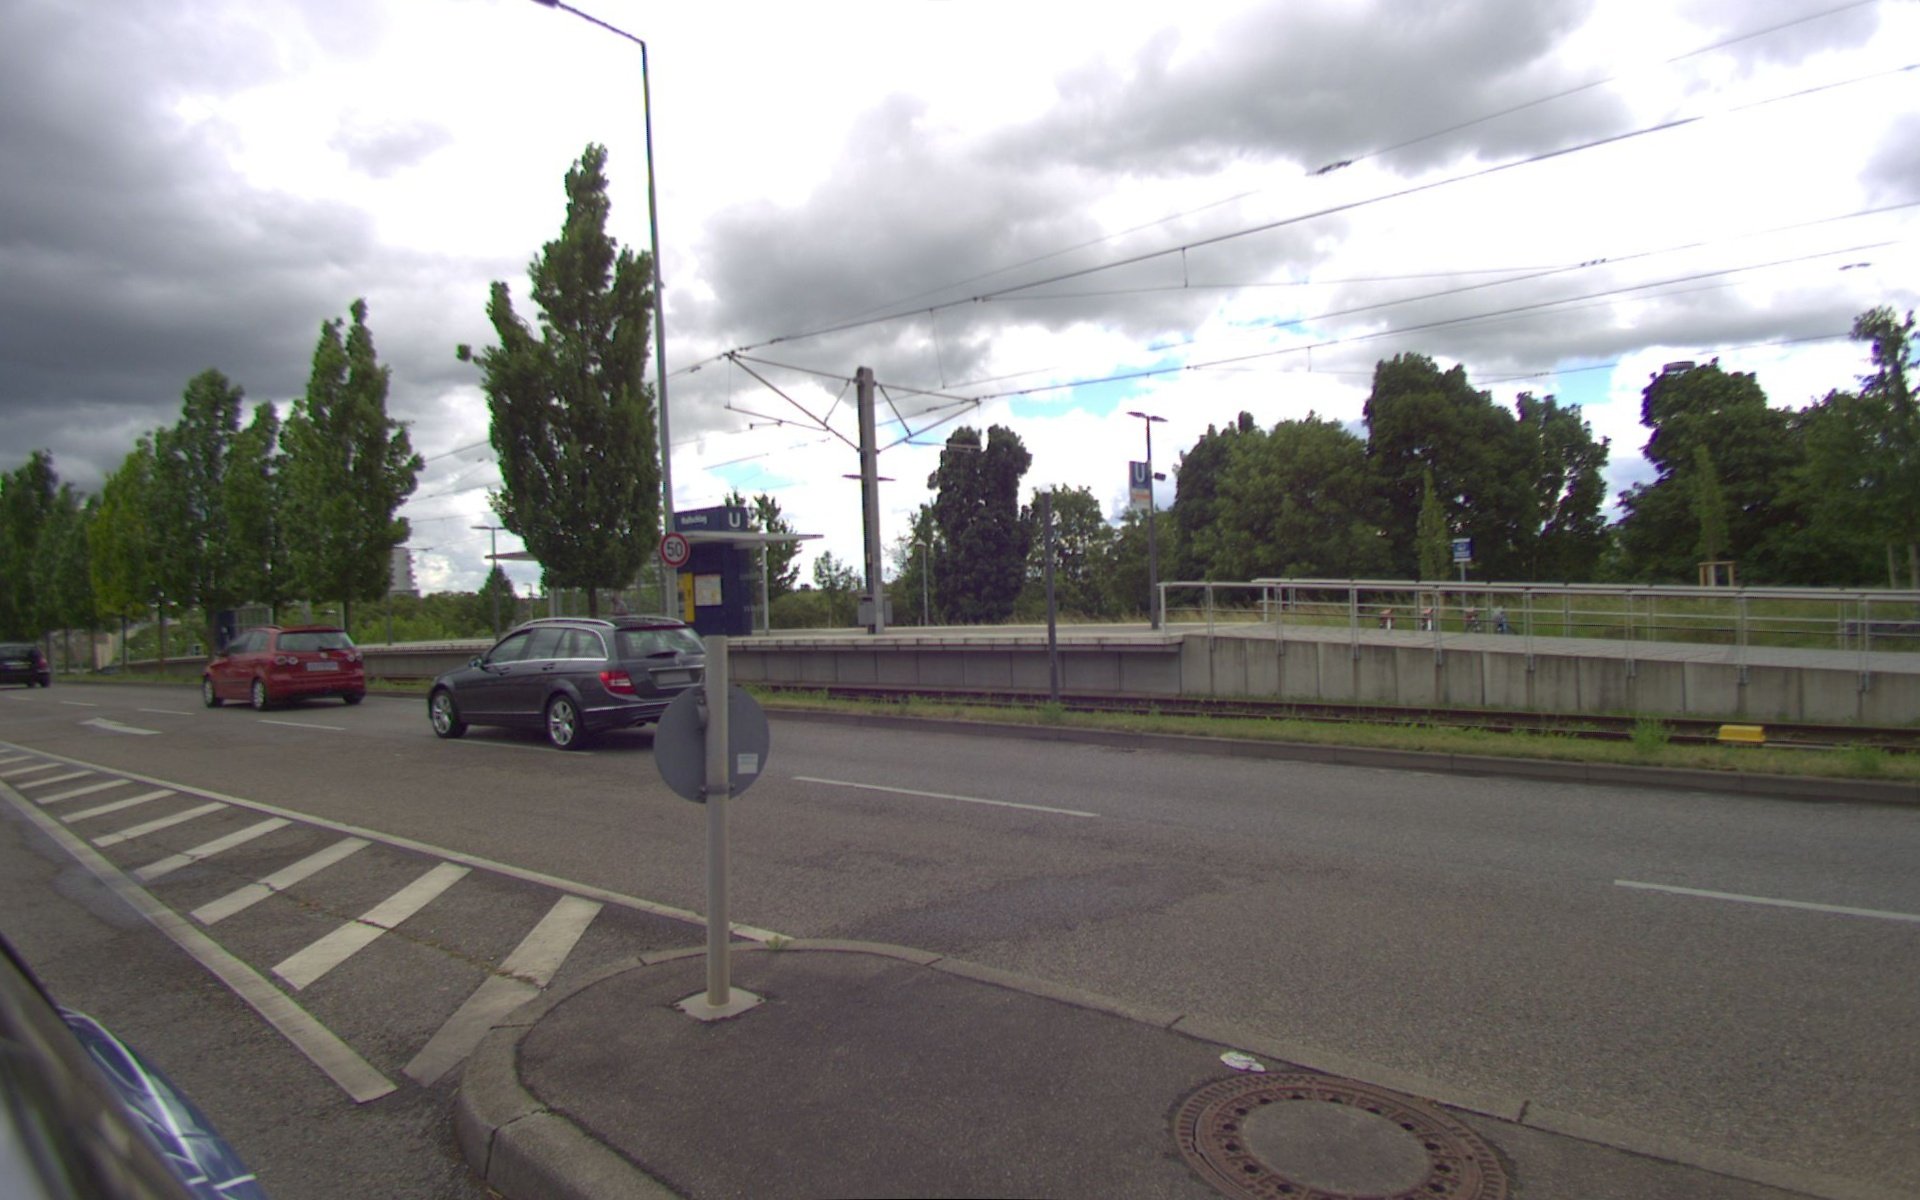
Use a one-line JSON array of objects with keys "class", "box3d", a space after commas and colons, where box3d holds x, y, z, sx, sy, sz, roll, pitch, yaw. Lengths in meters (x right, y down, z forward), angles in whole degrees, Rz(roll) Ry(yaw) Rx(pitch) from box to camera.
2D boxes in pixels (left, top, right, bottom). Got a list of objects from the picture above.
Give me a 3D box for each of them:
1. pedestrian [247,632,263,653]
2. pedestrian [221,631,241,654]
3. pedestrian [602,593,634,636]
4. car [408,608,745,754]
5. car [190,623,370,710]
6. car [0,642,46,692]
[{"class": "pedestrian", "box3d": [-37.803, 2.272, 54.251, 0.470, 1.087, 0.601, -5, -4, 40]}, {"class": "pedestrian", "box3d": [-39.086, 2.264, 54.266, 0.665, 1.208, 0.753, -4, -3, 40]}, {"class": "pedestrian", "box3d": [-10.589, 0.448, 31.325, 0.658, 1.279, 0.604, -6, -3, 36]}, {"class": "car", "box3d": [-4.785, 0.885, 12.320, 4.538, 1.450, 1.675, -2, -1, 37]}, {"class": "car", "box3d": [-13.275, 1.271, 19.684, 4.079, 1.499, 1.687, -3, -2, 37]}, {"class": "car", "box3d": [-32.984, 2.341, 34.884, 3.703, 1.585, 1.708, -4, -2, 40]}]
